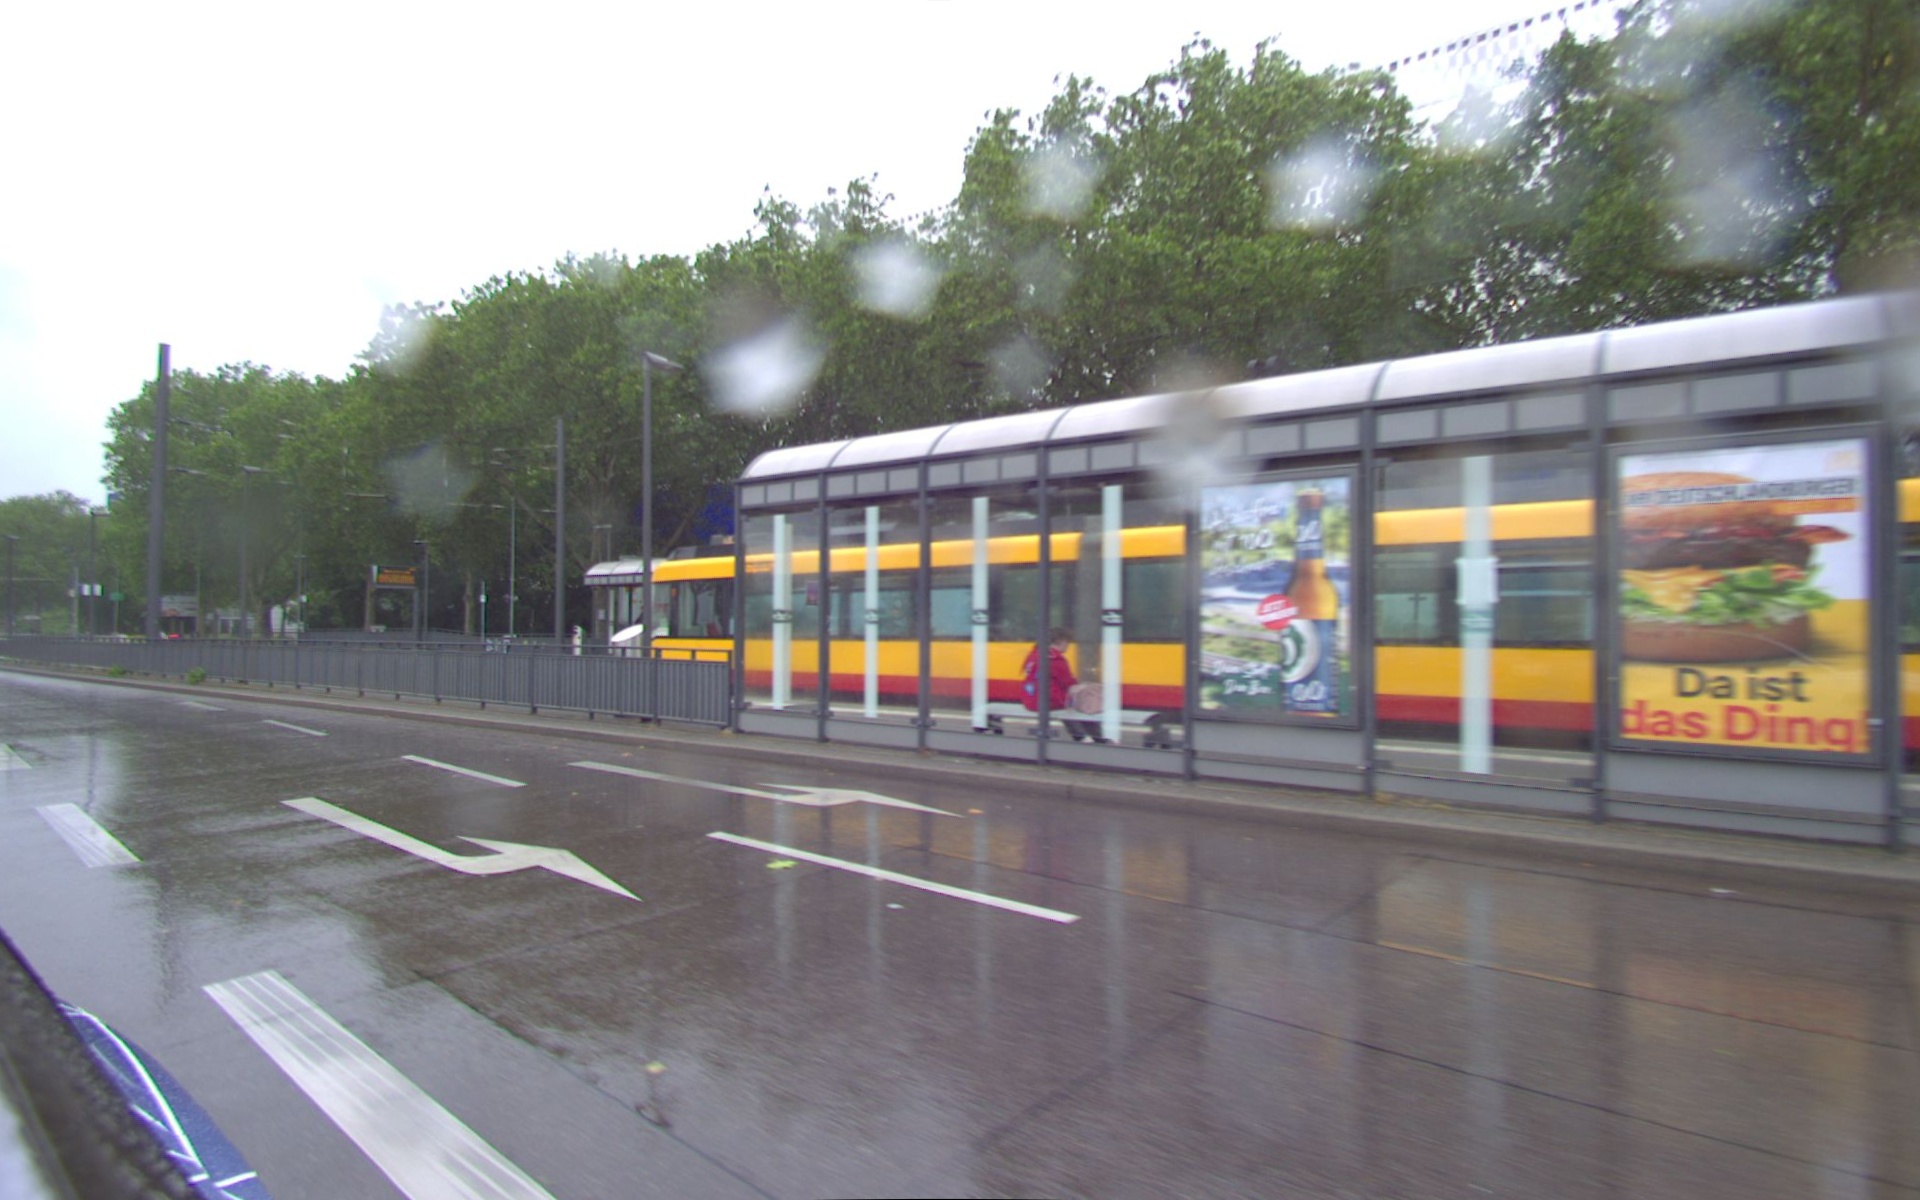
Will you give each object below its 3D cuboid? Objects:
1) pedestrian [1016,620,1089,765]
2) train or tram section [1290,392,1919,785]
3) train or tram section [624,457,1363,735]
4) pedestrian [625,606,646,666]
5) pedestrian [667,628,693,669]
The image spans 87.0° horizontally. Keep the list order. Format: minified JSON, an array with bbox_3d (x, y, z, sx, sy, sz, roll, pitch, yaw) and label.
[{"bbox_3d":[0.830,0.807,9.108,0.451,1.245,0.467,0,0,-37],"label":"pedestrian"},{"bbox_3d":[10.865,-0.132,11.219,13.236,3.868,3.706,-1,0,38],"label":"train or tram section"},{"bbox_3d":[-0.551,0.001,20.187,15.550,3.827,3.706,-1,0,38],"label":"train or tram section"},{"bbox_3d":[-10.456,1.151,32.631,0.461,1.897,0.476,0,0,30],"label":"pedestrian"},{"bbox_3d":[-8.651,1.486,31.245,0.578,1.209,0.515,0,0,30],"label":"pedestrian"}]
